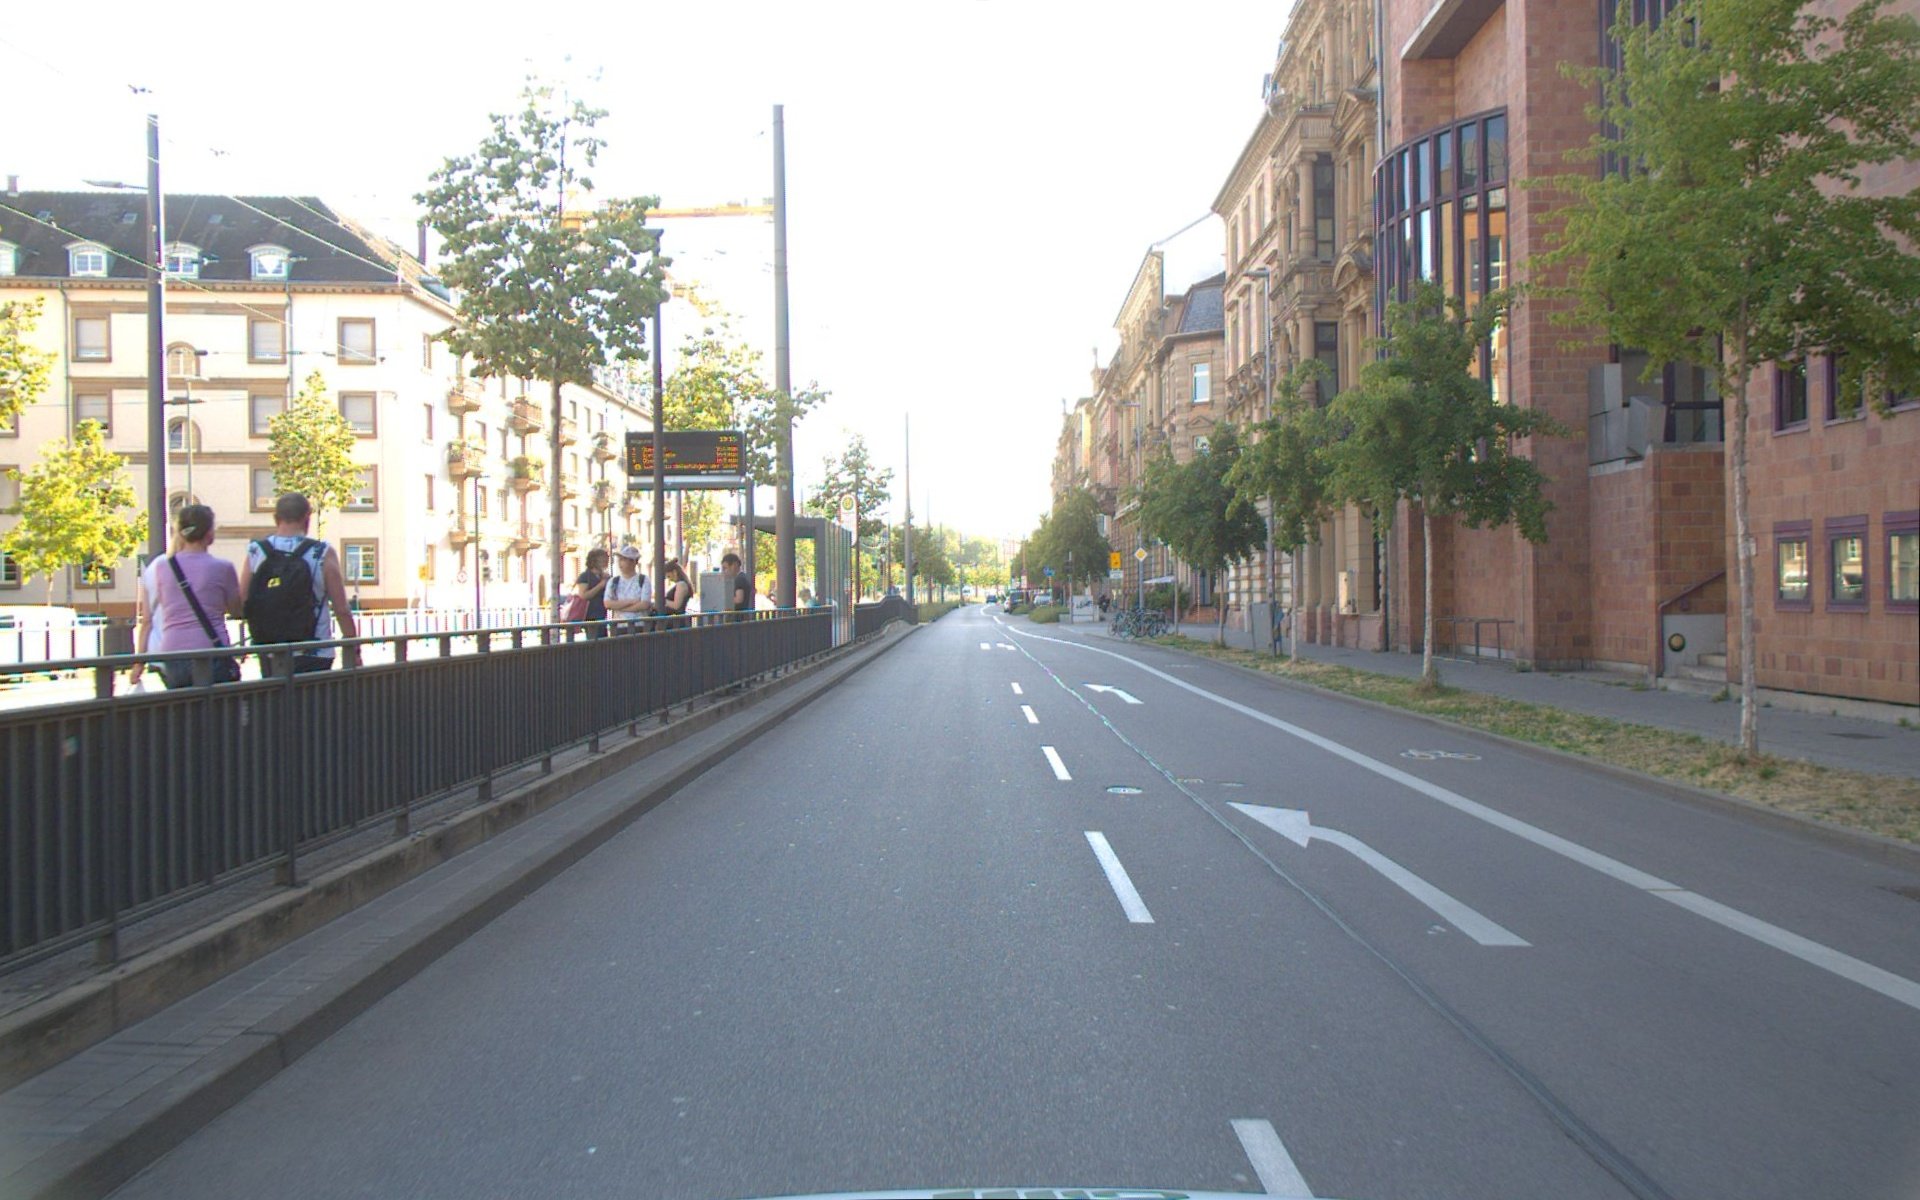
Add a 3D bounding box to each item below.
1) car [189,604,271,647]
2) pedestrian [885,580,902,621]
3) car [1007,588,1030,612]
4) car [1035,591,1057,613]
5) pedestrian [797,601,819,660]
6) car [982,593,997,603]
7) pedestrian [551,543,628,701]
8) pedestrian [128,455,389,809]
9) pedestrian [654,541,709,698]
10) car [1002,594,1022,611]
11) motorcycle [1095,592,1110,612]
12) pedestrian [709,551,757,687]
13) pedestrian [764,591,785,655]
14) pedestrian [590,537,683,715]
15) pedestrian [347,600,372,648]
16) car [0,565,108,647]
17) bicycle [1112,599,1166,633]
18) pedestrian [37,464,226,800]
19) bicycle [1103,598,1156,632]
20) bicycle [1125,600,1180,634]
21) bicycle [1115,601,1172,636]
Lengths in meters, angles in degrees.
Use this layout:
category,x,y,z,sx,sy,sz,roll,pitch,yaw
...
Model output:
category,x,y,z,sx,sy,sz,roll,pitch,yaw
car,-30.187,1.038,68.508,1.801,1.612,4.127,-1,1,-5
pedestrian,-2.711,0.015,67.663,0.641,1.671,0.867,0,-1,0
car,5.064,-0.028,143.165,1.846,1.971,4.475,-1,1,2
car,6.626,0.116,127.024,1.603,1.511,4.214,-3,1,3
pedestrian,-3.152,0.618,34.201,0.399,1.211,0.428,0,0,-12
car,4.555,-0.319,255.641,1.759,1.489,4.003,-1,0,7
pedestrian,-4.215,0.245,18.844,0.705,1.762,0.651,-1,0,0
pedestrian,-3.593,0.152,8.570,0.870,1.701,1.095,-1,0,-1
pedestrian,-3.206,0.219,19.081,0.494,1.762,0.651,-1,0,0
car,4.941,0.213,156.958,1.811,1.483,4.158,-1,1,2
motorcycle,10.470,0.126,121.810,0.778,1.331,2.852,-3,1,0
pedestrian,-2.900,0.241,21.146,0.494,1.708,0.651,-1,0,0
pedestrian,-4.167,0.513,37.104,0.421,1.410,0.406,0,0,-12
pedestrian,-2.986,0.230,15.340,0.659,1.589,0.906,-1,0,0
pedestrian,-26.057,1.019,71.795,0.784,2.048,0.625,-1,1,0
car,-24.552,0.122,43.349,1.951,2.048,4.150,-1,1,6
bicycle,6.446,0.572,59.543,1.790,1.083,0.663,-4,1,-5
pedestrian,-4.378,0.162,8.779,0.643,1.701,0.672,-1,0,-1
bicycle,6.240,0.548,61.018,1.790,1.083,0.663,-4,1,-5
bicycle,6.756,0.592,58.157,1.790,1.083,0.663,-4,1,-5
bicycle,6.299,0.629,56.787,1.790,1.083,0.663,-4,1,-5
